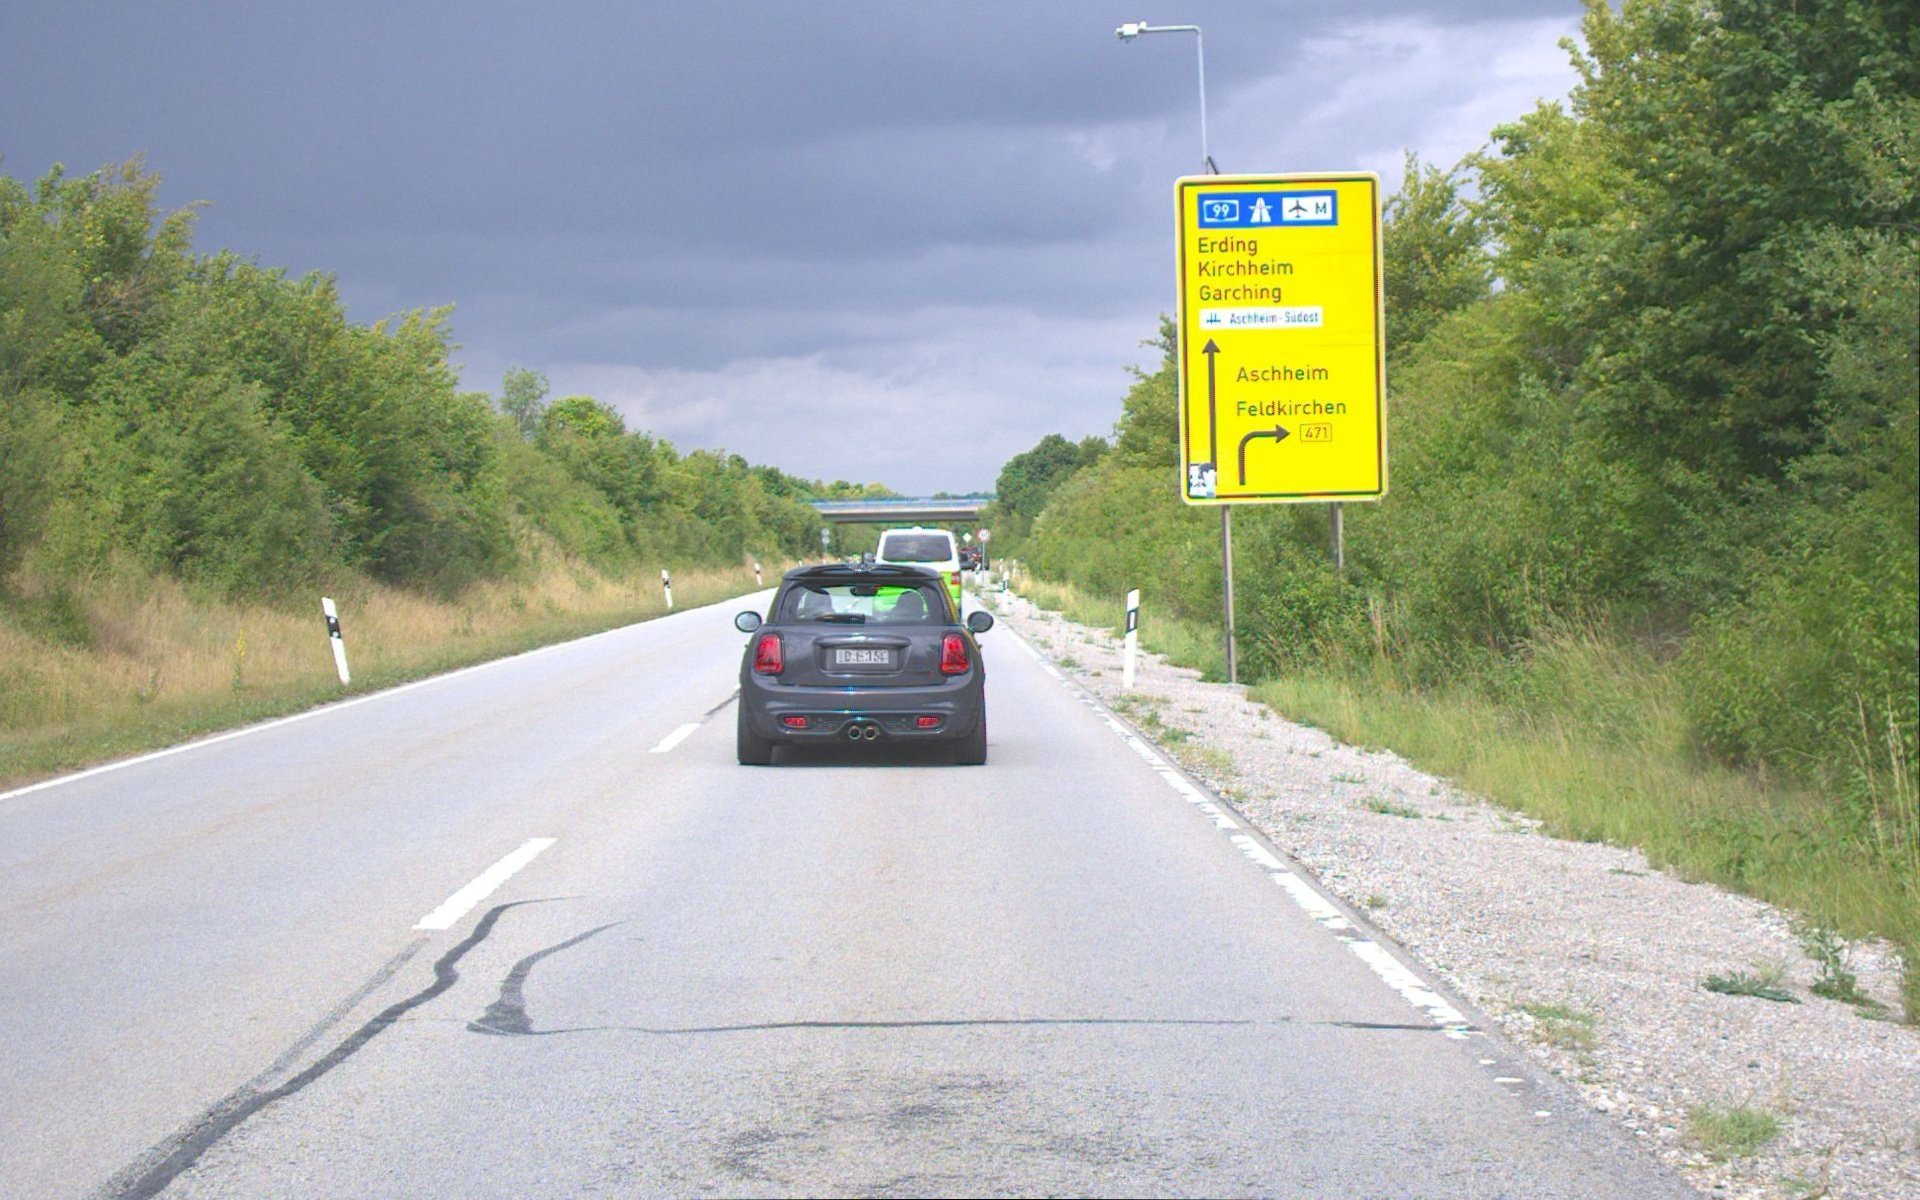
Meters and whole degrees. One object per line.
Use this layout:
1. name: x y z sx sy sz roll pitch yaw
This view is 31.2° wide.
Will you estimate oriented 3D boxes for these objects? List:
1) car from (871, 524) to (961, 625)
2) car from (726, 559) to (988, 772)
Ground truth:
1. car: -0.929 -0.541 72.464 1.819 2.047 4.000 1 1 -1
2. car: -0.727 0.419 25.309 1.756 1.422 4.000 1 1 -1
